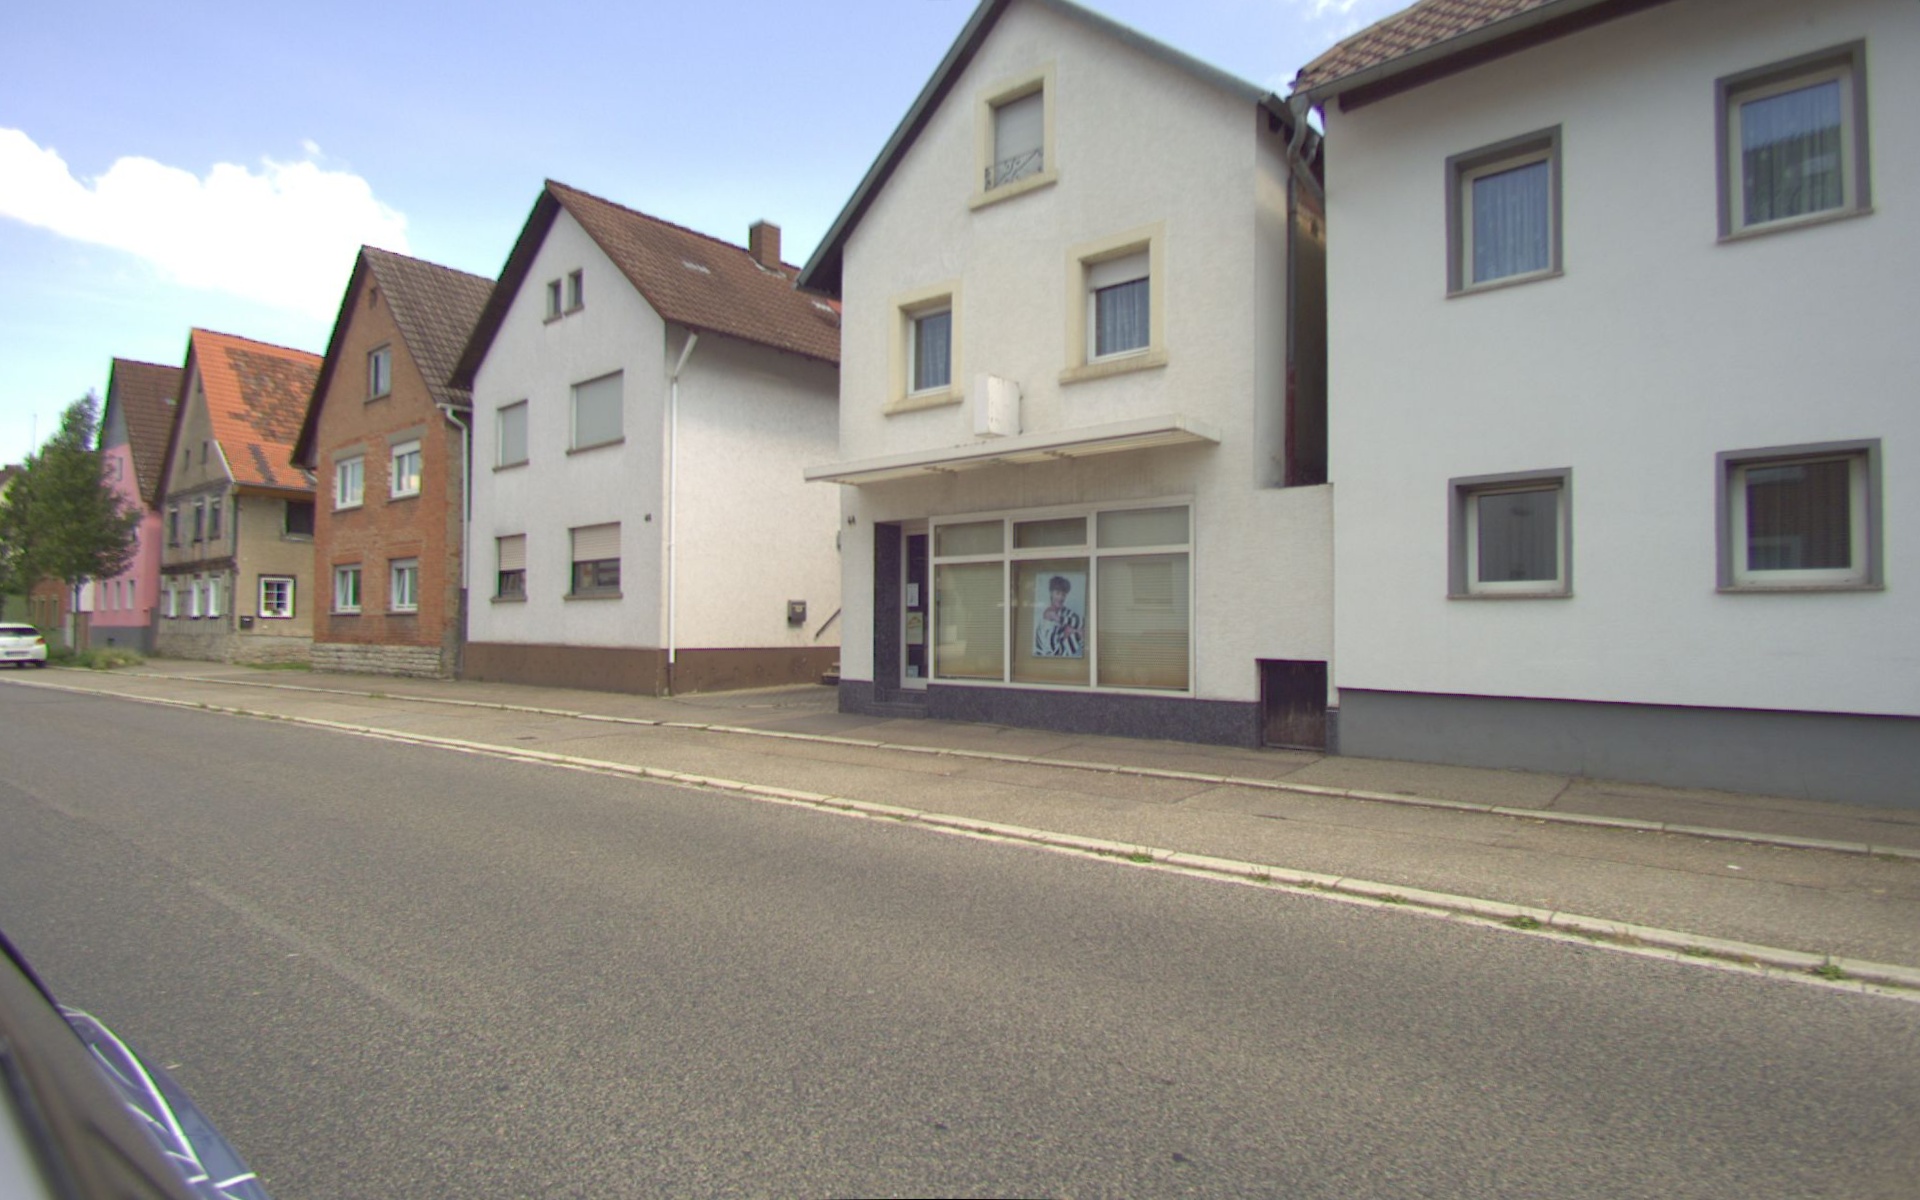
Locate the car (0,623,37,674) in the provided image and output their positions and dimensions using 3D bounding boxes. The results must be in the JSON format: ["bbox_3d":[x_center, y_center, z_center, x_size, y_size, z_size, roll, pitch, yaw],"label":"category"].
[{"bbox_3d":[-31.583,1.560,33.144,3.498,1.541,1.661,0,0,42],"label":"car"}]
